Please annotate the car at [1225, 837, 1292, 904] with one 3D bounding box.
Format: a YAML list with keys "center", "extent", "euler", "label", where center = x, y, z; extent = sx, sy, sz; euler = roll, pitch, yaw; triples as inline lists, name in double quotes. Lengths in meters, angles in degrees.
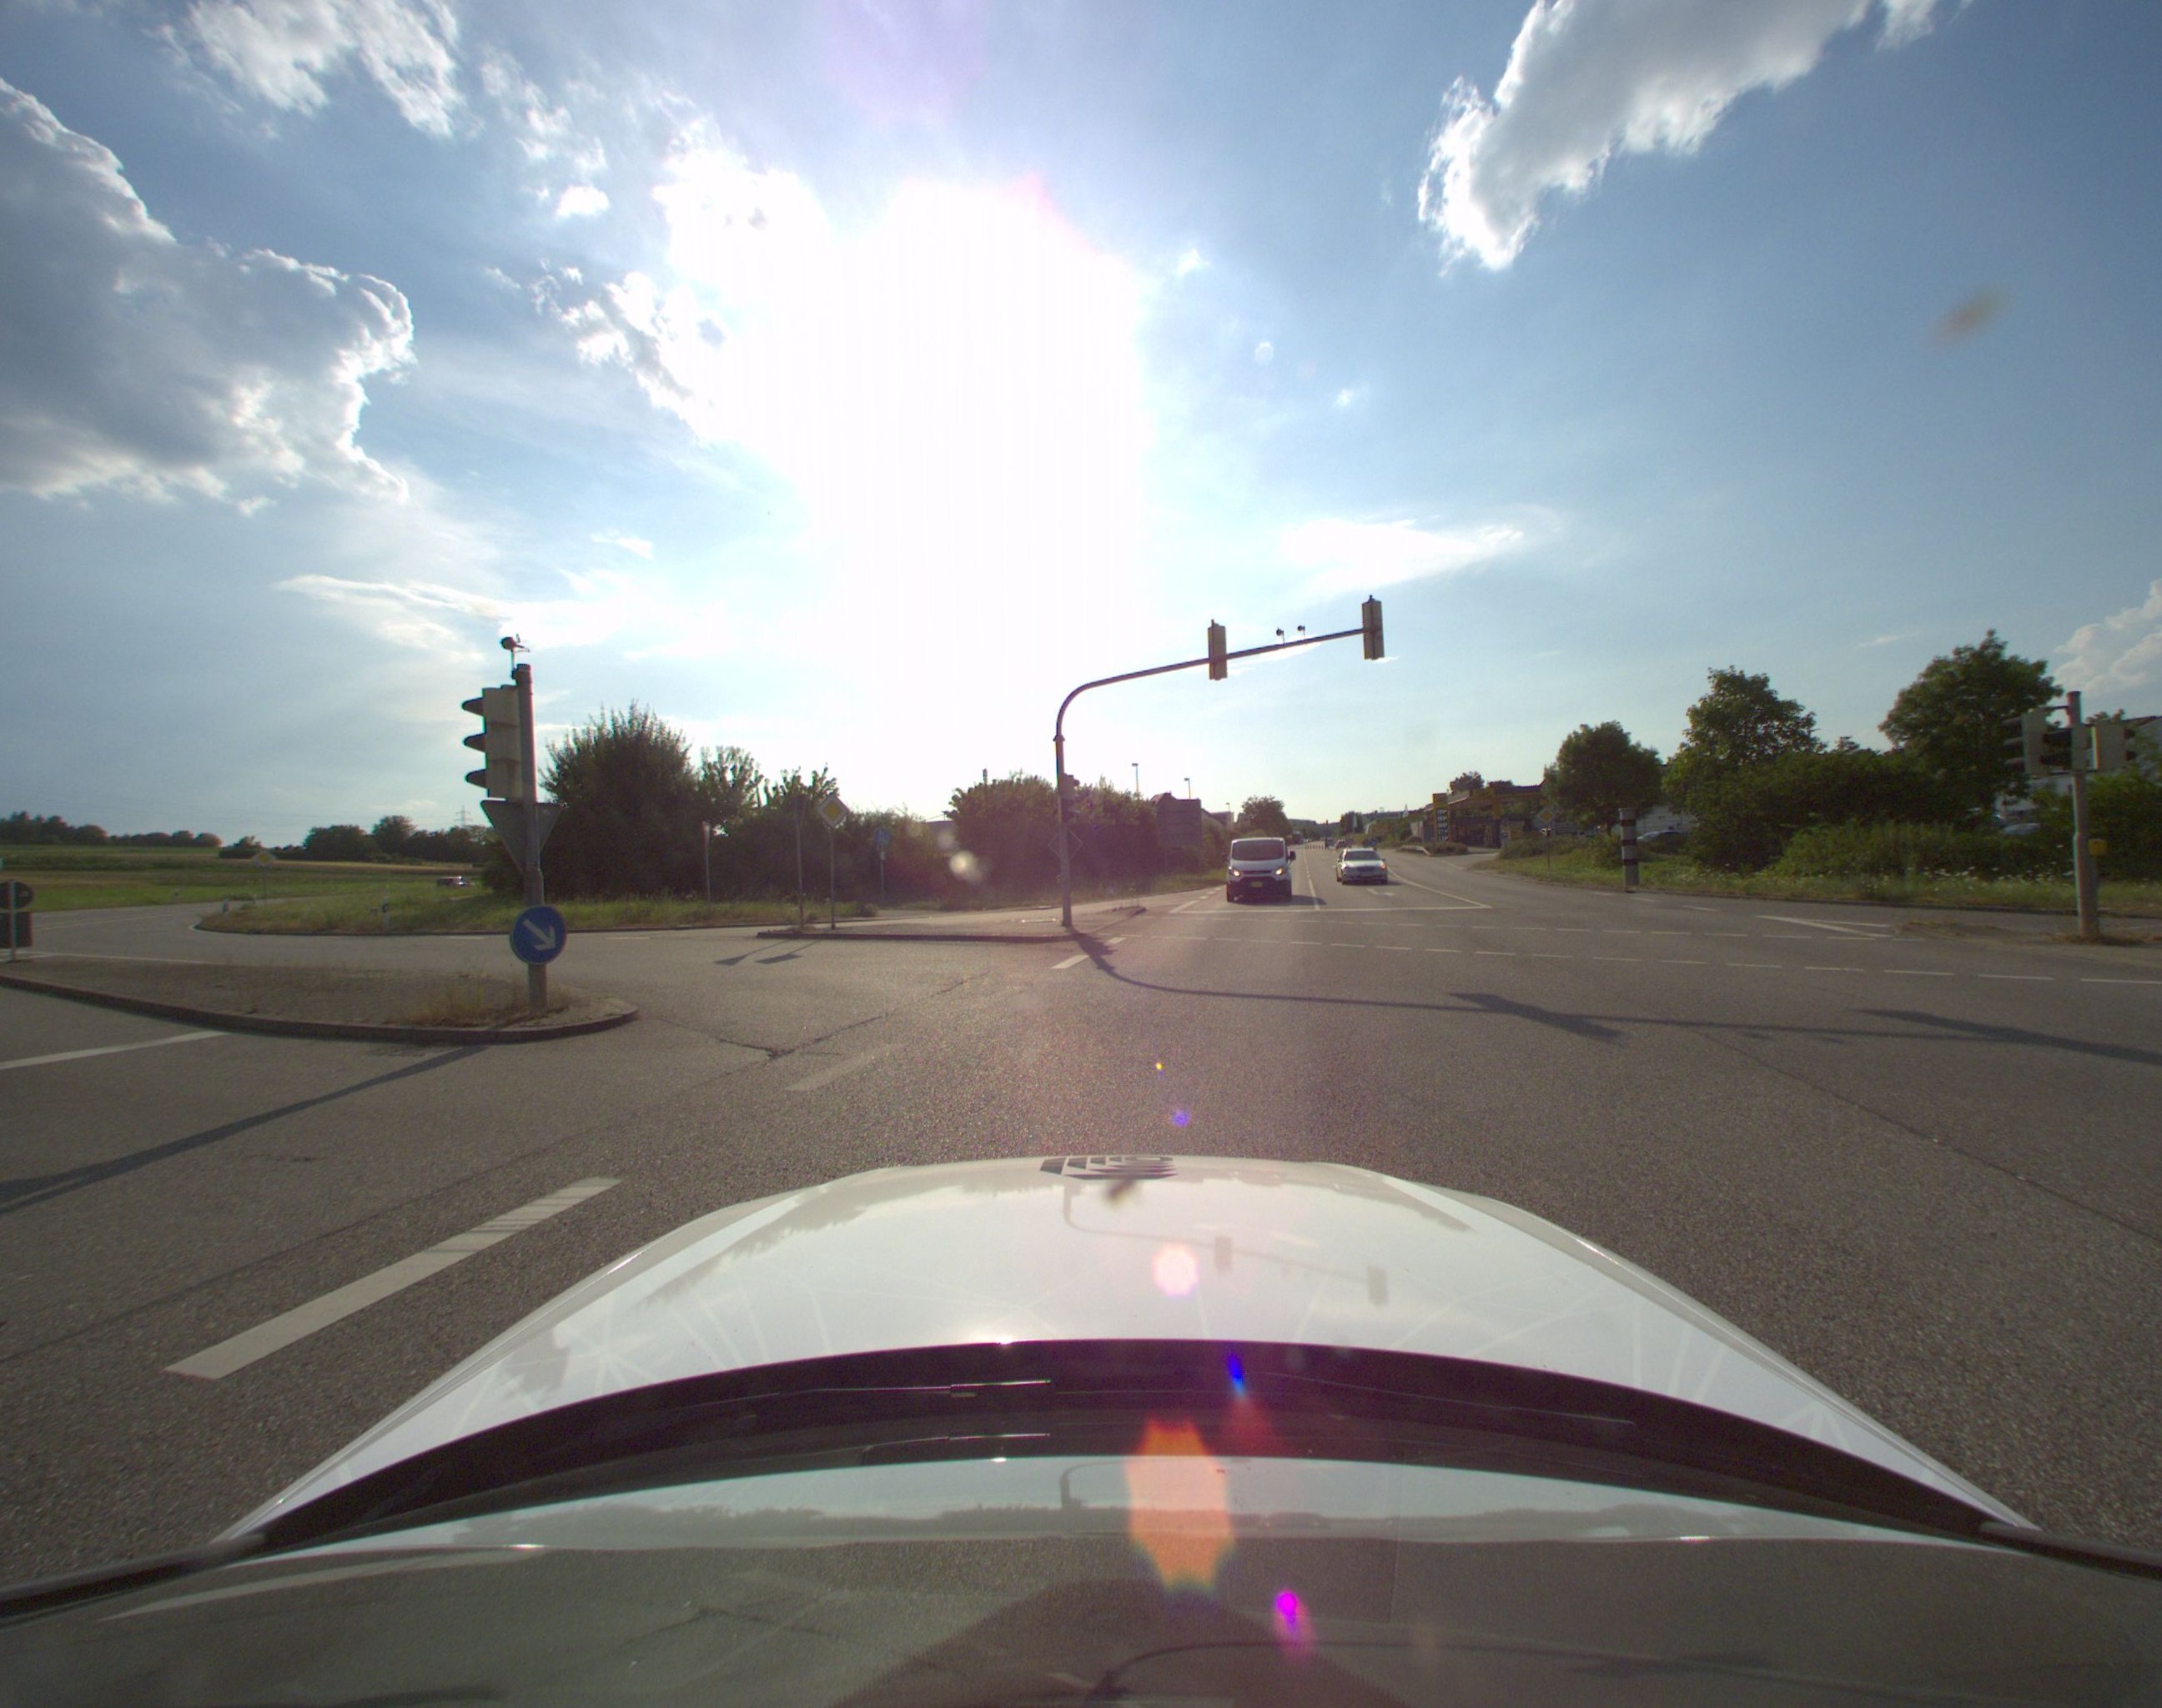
- center: [5.625, 0.445, 26.211]
  extent: [1.888, 1.947, 4.833]
  euler: [-1, 1, 11]
  label: "car"

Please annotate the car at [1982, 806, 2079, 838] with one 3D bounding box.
- center: [63.971, -2.124, 54.920]
  extent: [4.652, 2.014, 1.996]
  euler: [0, -1, -6]
  label: "car"

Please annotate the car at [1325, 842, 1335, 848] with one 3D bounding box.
- center: [54.900, -1.978, 179.851]
  extent: [1.729, 1.352, 3.213]
  euler: [-1, -1, 11]
  label: "car"

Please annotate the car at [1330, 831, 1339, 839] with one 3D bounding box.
- center: [70.483, -5.209, 226.394]
  extent: [1.981, 2.014, 4.012]
  euler: [-1, -1, 11]
  label: "car"

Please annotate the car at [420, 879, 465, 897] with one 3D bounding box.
- center: [-56.770, 2.977, 72.438]
  extent: [1.725, 1.500, 3.838]
  euler: [-1, -1, -14]
  label: "car"

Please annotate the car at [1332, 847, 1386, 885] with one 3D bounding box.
- center: [11.926, 0.501, 35.175]
  extent: [1.843, 1.513, 4.972]
  euler: [-1, -1, 15]
  label: "car"

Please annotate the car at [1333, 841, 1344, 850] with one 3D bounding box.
- center: [43.558, -1.421, 137.779]
  extent: [1.538, 1.449, 3.062]
  euler: [-1, -1, 15]
  label: "car"
